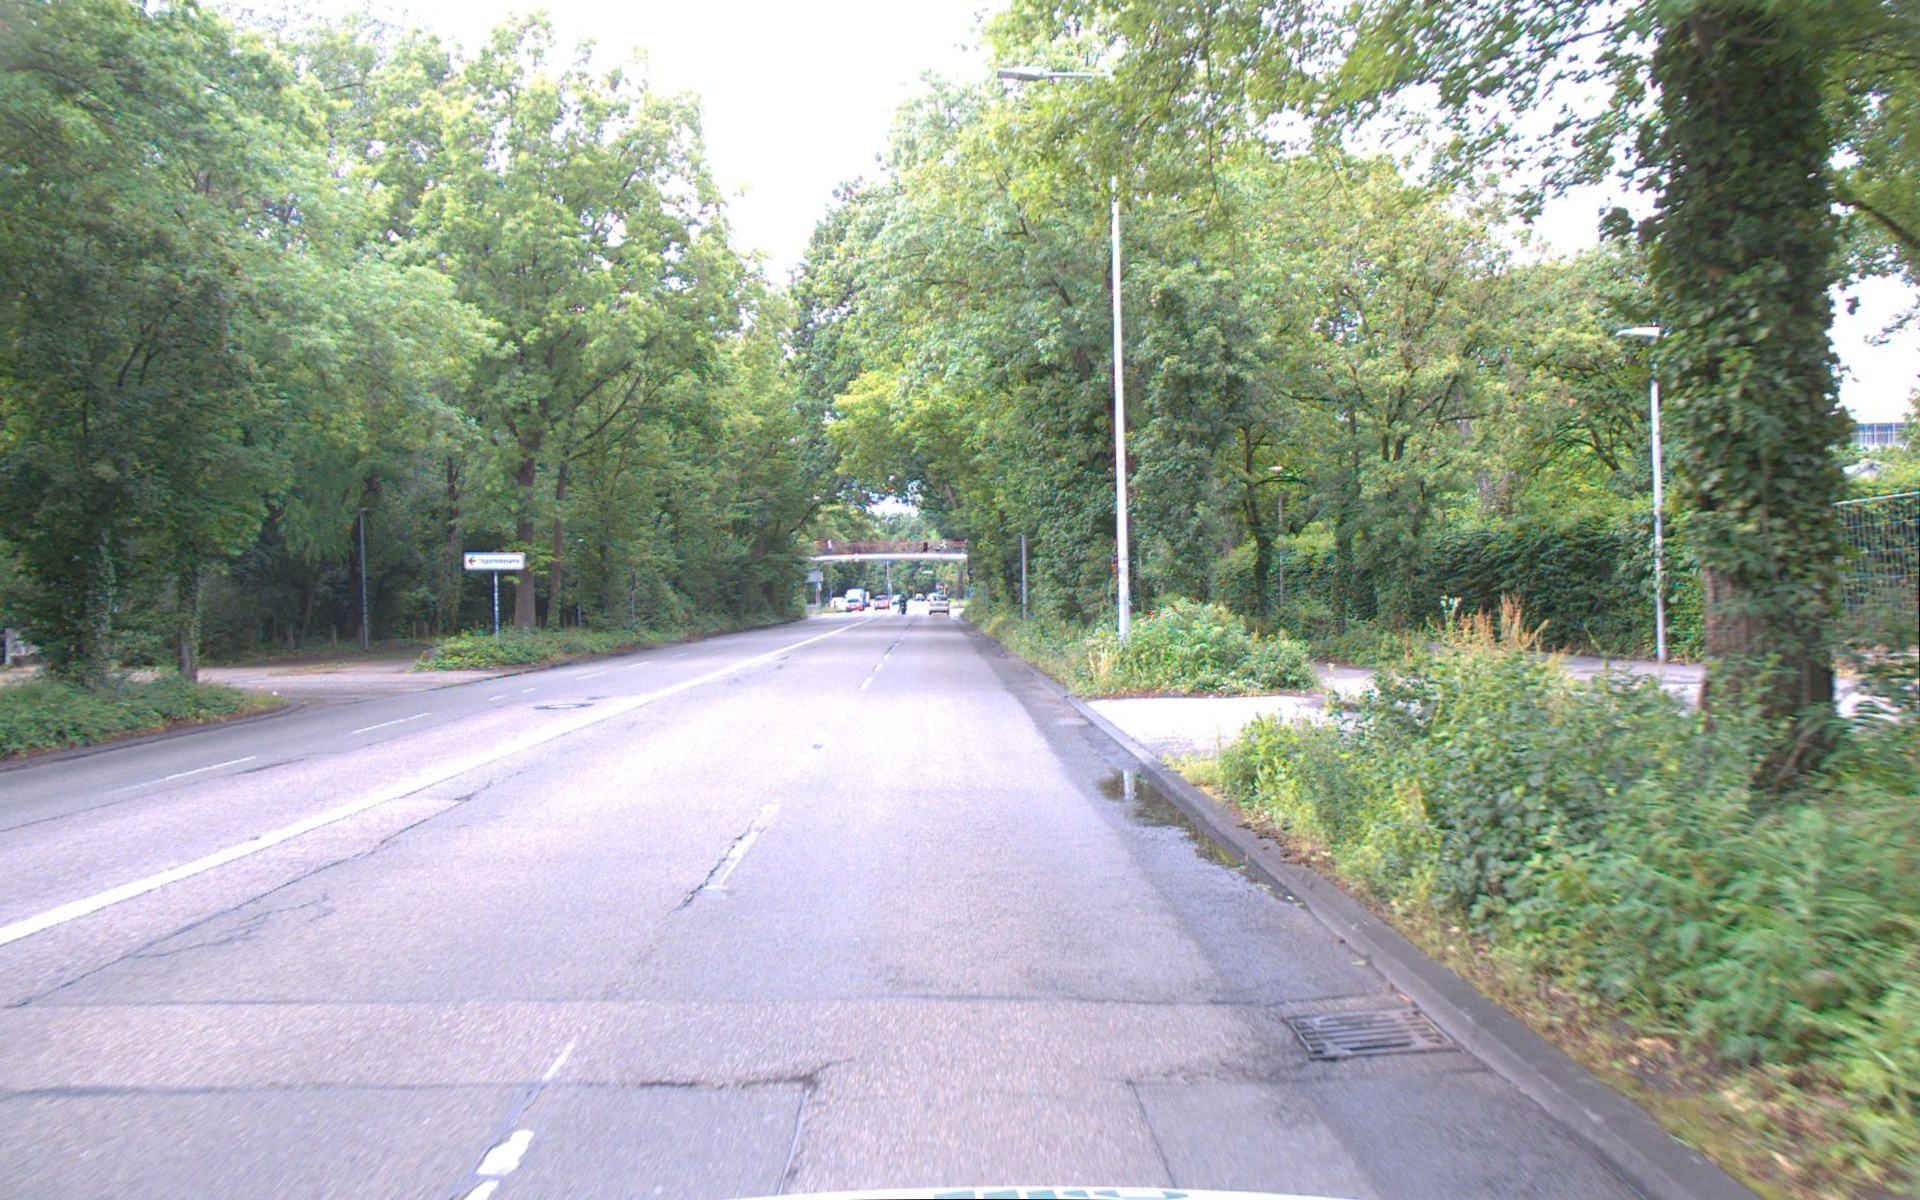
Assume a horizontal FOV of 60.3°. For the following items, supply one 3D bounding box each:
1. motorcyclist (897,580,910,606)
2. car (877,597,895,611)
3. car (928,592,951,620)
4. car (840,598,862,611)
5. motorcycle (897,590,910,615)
[{"bbox_3d":[-4.563,-0.578,132.781,1.042,2.049,0.842,0,0,-1],"label":"motorcyclist"},{"bbox_3d":[-7.861,0.431,176.138,1.640,1.386,3.922,0,0,2],"label":"car"},{"bbox_3d":[-1.603,0.458,129.401,1.806,2.048,4.000,0,1,-1],"label":"car"},{"bbox_3d":[-11.534,0.469,175.506,1.952,1.377,3.895,0,0,2],"label":"car"},{"bbox_3d":[-4.561,0.204,132.949,0.970,1.970,2.668,0,0,-1],"label":"motorcycle"}]
